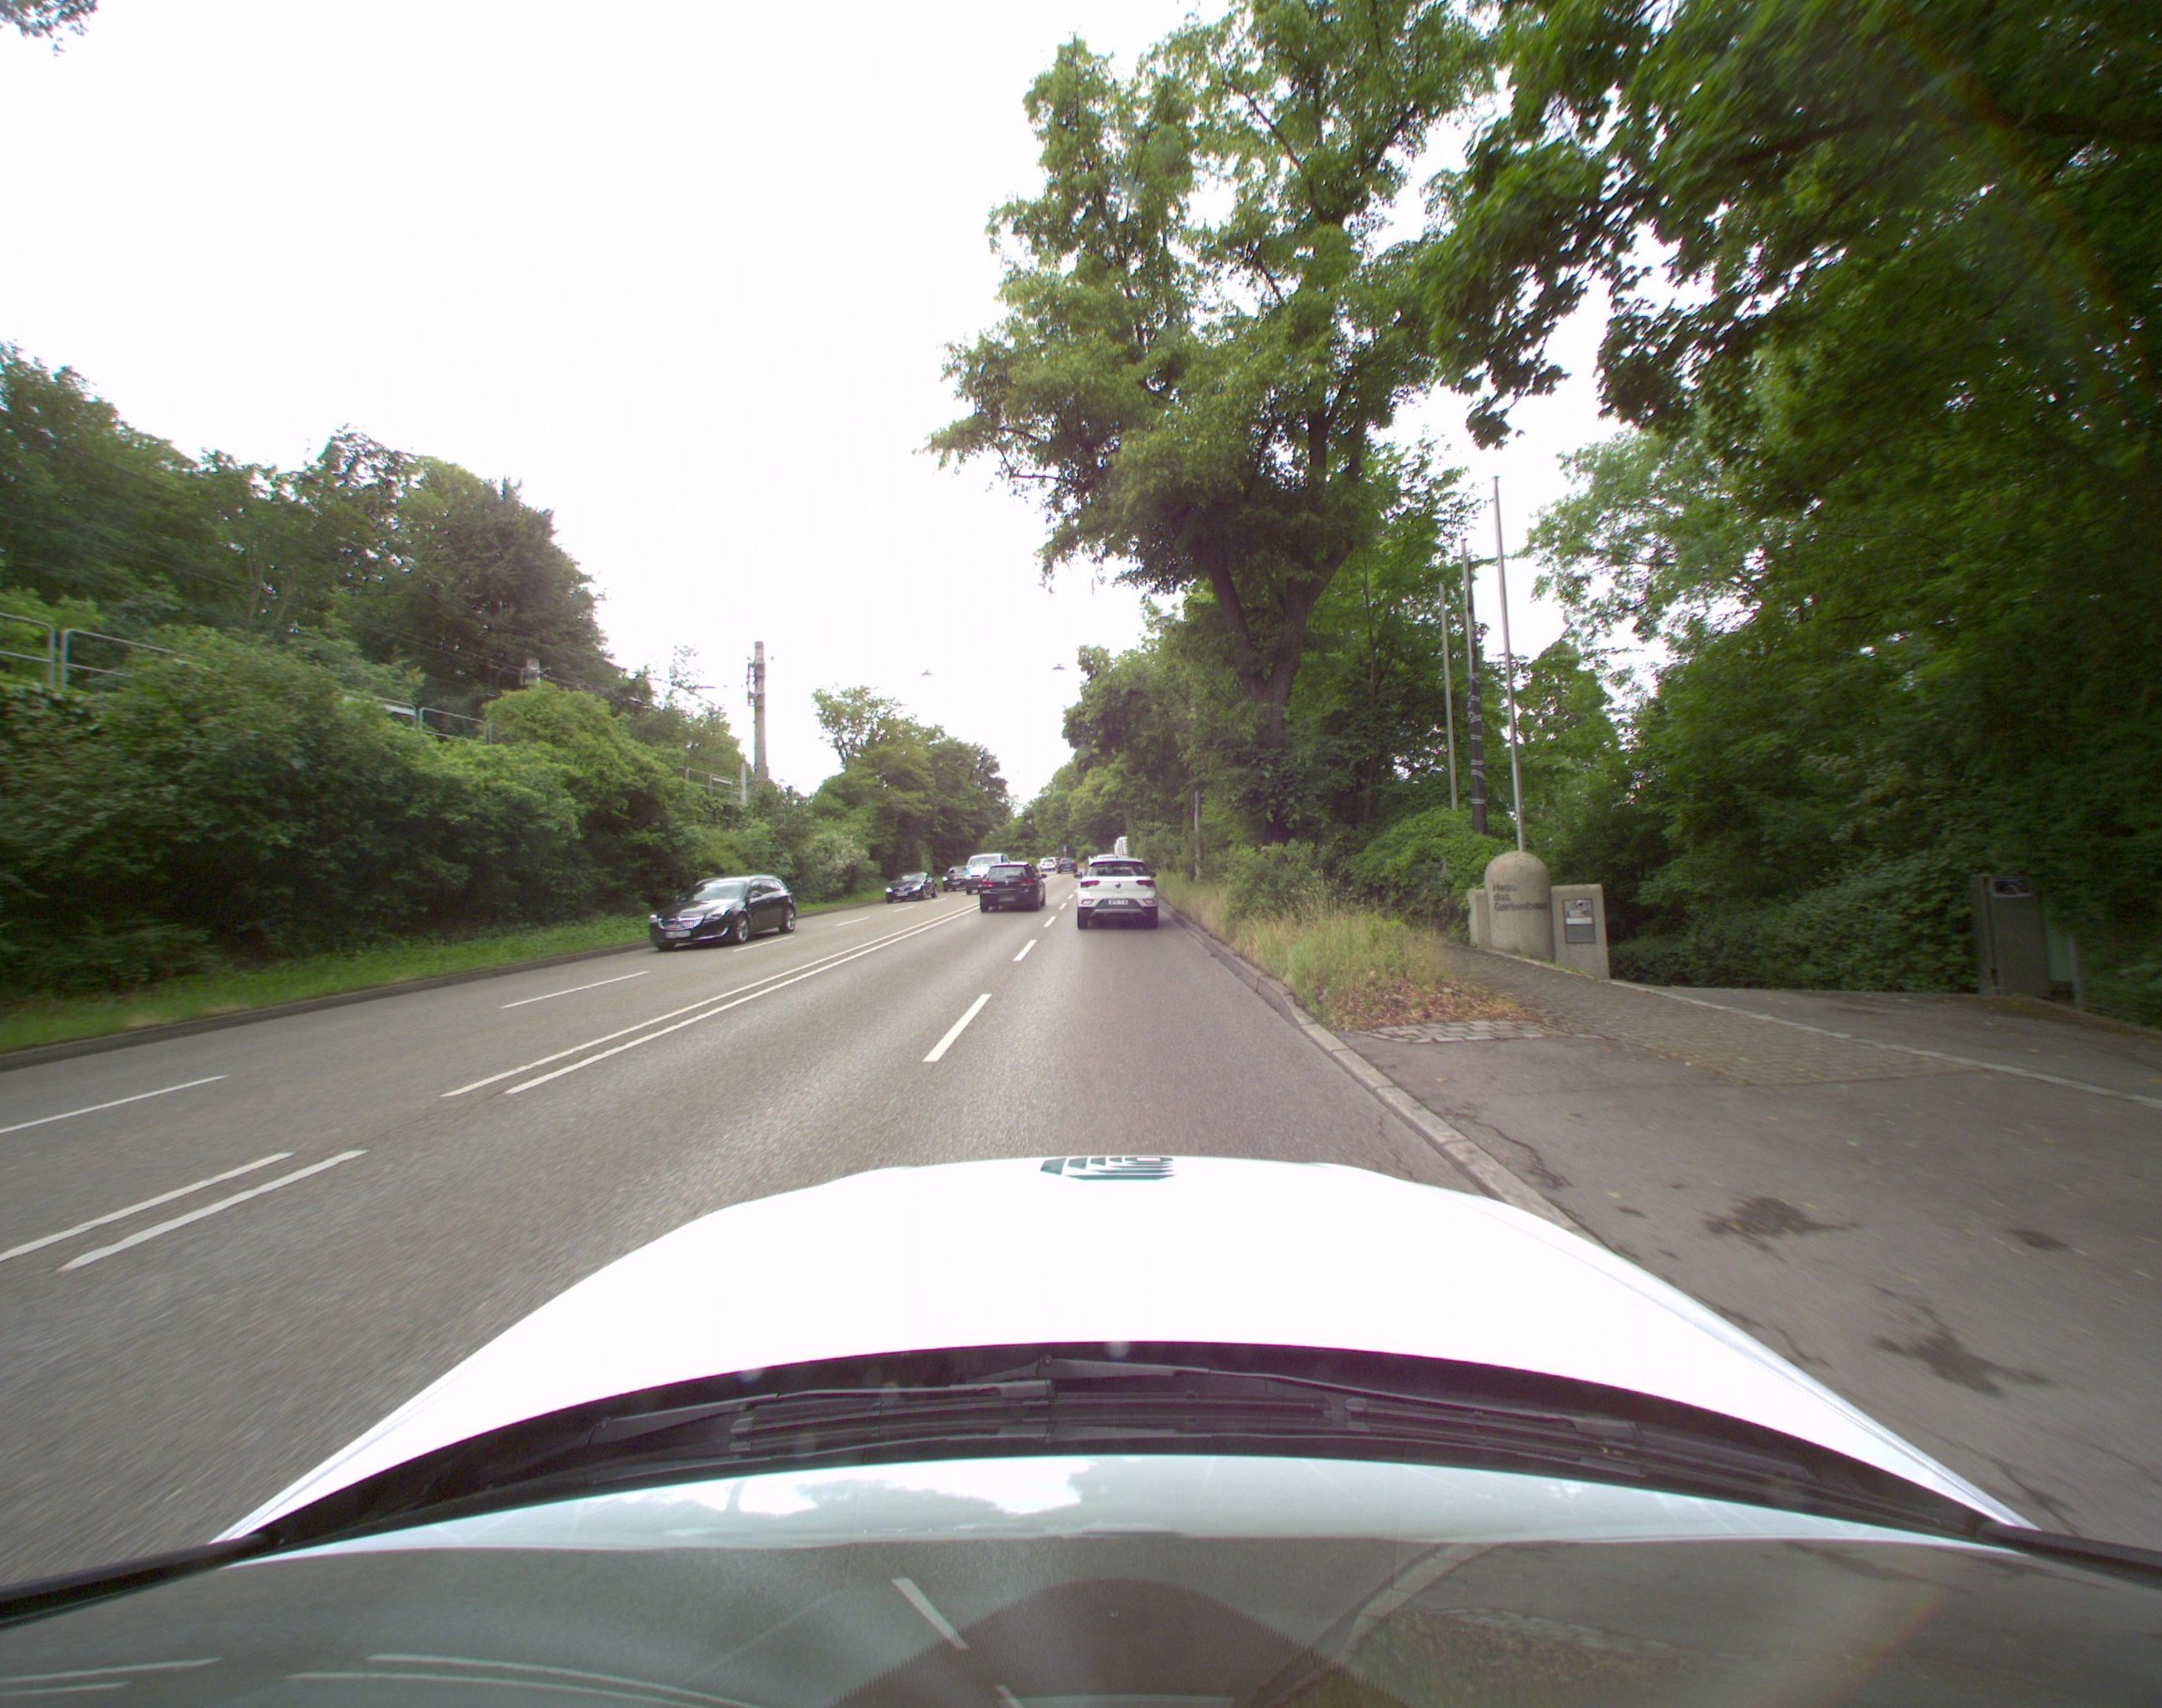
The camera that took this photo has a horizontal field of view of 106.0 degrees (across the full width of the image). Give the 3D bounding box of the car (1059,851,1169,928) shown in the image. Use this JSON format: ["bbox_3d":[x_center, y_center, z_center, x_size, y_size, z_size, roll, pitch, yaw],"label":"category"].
[{"bbox_3d":[0.638,0.764,18.942,1.998,1.596,3.991,0,-1,-6],"label":"car"}]

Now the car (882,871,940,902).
[{"bbox_3d":[-7.822,1.467,37.850,1.760,1.310,4.001,-1,-1,1],"label":"car"}]

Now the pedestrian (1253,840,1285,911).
[{"bbox_3d":[4.576,0.520,19.849,0.607,1.698,0.548,-1,-1,-2],"label":"pedestrian"}]

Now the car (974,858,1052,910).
[{"bbox_3d":[-2.007,0.885,25.284,1.942,1.466,4.001,-1,-1,2],"label":"car"}]

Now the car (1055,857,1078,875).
[{"bbox_3d":[-1.350,1.153,78.634,1.986,1.592,4.001,-1,-1,2],"label":"car"}]

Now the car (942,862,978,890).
[{"bbox_3d":[-7.353,1.315,49.698,1.469,1.596,4.002,-1,-1,2],"label":"car"}]

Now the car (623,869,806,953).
[{"bbox_3d":[-8.163,1.197,18.695,1.906,1.468,4.531,-5,0,2],"label":"car"}]

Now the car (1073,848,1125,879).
[{"bbox_3d":[1.103,0.586,51.179,1.858,1.702,3.973,-5,1,-20],"label":"car"}]

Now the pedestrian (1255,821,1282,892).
[{"bbox_3d":[4.694,0.059,20.438,0.518,1.753,0.524,-1,-1,-2],"label":"pedestrian"}]

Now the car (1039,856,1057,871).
[{"bbox_3d":[-3.920,1.132,96.217,1.815,1.623,4.001,-1,-1,2],"label":"car"}]

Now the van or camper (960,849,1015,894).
[{"bbox_3d":[-4.720,0.868,41.853,1.987,2.013,5.368,-5,-1,0],"label":"van or camper"}]

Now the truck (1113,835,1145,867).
[{"bbox_3d":[4.944,-0.266,85.274,2.477,3.182,7.219,-1,-1,-4],"label":"truck"}]
